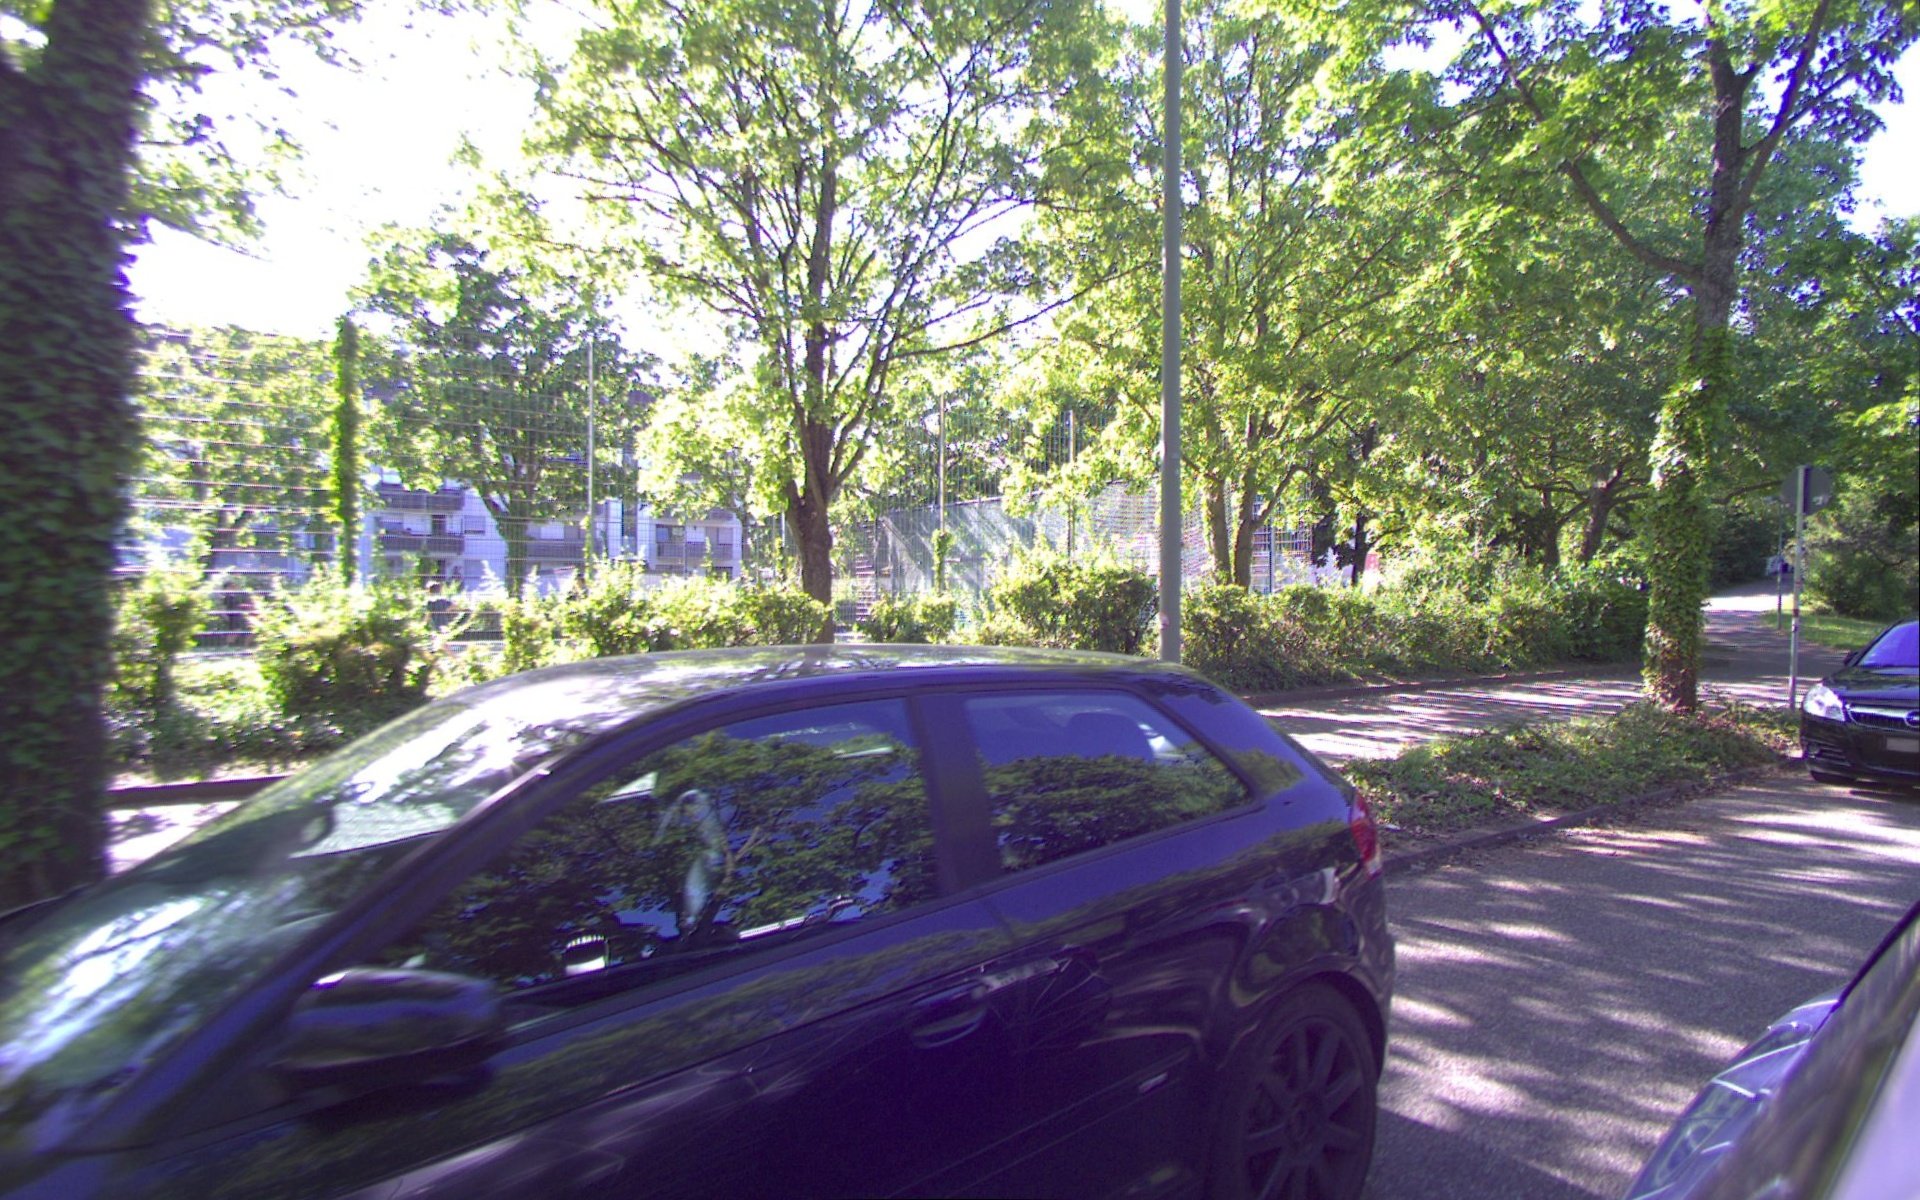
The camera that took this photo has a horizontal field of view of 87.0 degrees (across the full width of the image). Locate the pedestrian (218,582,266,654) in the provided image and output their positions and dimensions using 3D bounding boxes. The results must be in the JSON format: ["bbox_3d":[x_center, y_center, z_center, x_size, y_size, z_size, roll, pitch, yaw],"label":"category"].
[{"bbox_3d":[-14.585,0.367,20.554,0.498,1.439,0.630,-2,-2,11],"label":"pedestrian"}]

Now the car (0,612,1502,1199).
[{"bbox_3d":[-0.665,0.761,2.107,3.925,1.438,1.644,0,-1,-37],"label":"car"}]

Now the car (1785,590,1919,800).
[{"bbox_3d":[8.619,0.658,8.231,3.951,1.499,1.755,-1,0,-32],"label":"car"}]

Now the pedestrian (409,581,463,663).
[{"bbox_3d":[-8.208,0.342,15.869,0.535,1.256,0.561,-1,-2,6],"label":"pedestrian"}]
